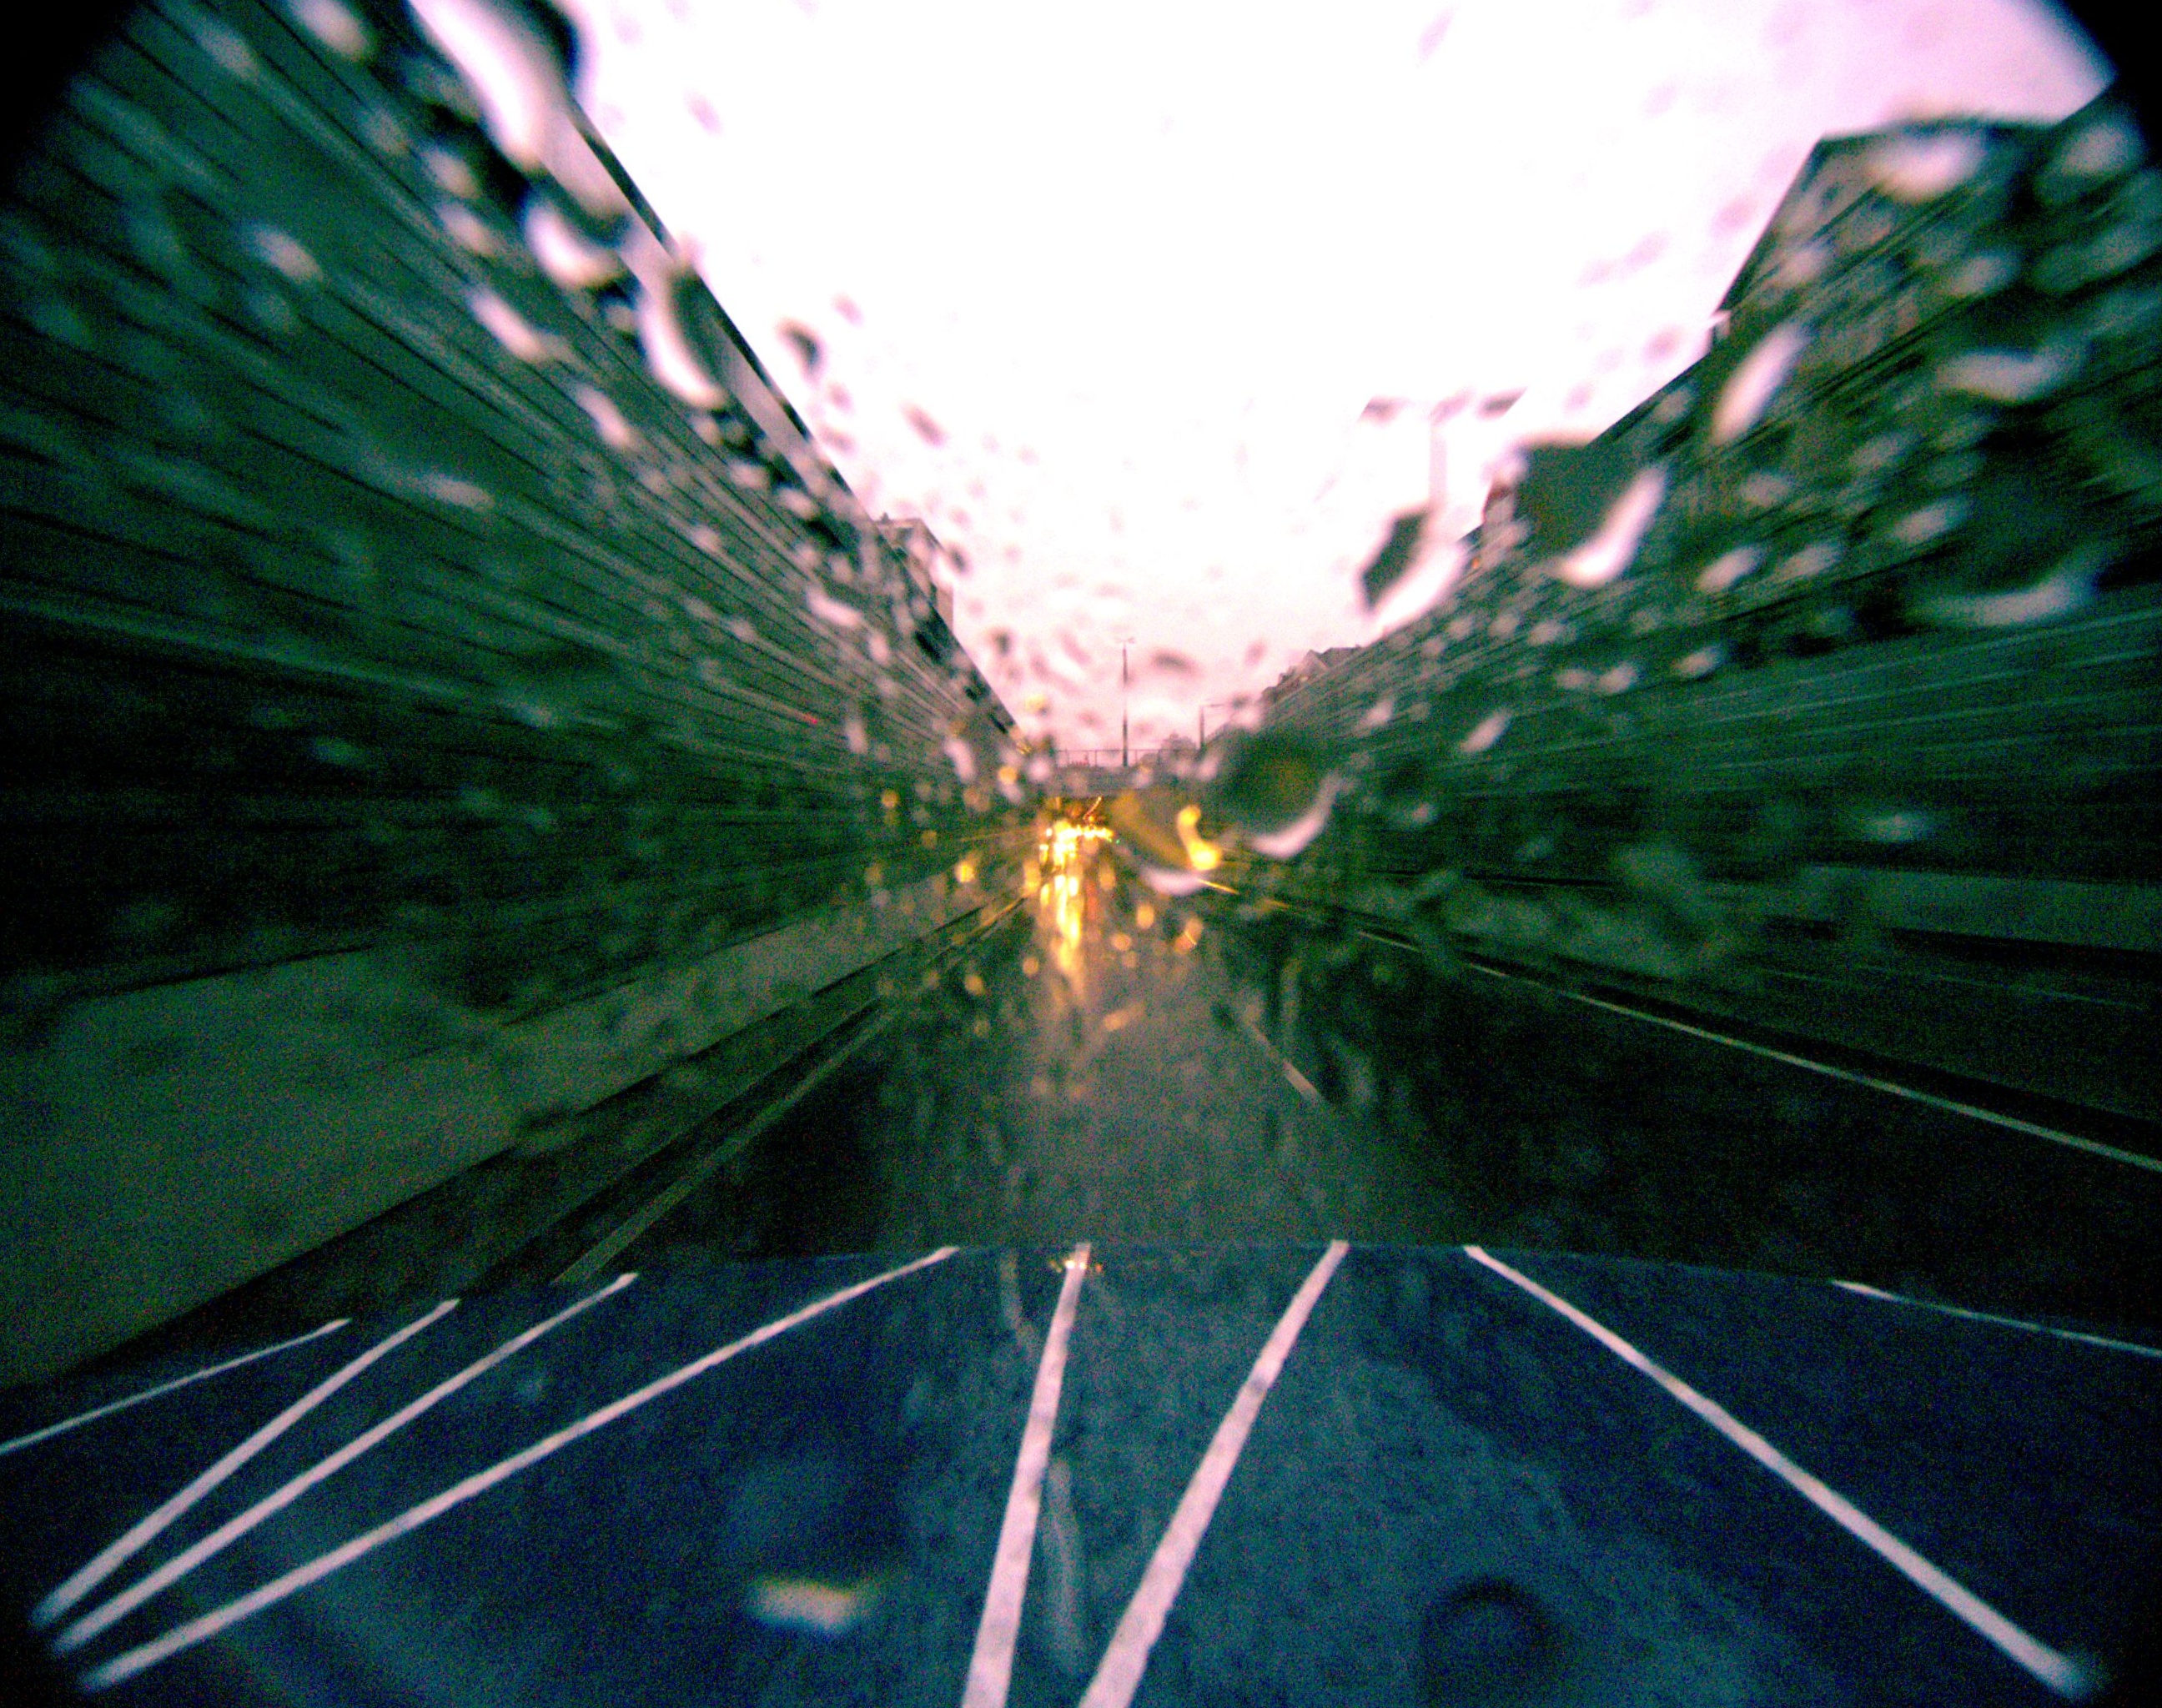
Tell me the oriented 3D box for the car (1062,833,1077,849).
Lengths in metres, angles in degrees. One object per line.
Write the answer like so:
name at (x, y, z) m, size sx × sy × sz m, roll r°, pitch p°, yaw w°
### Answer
car at (-1.632, -1.817, 105.988) m, size 2.031 × 2.018 × 4.422 m, roll -2°, pitch 2°, yaw -2°
